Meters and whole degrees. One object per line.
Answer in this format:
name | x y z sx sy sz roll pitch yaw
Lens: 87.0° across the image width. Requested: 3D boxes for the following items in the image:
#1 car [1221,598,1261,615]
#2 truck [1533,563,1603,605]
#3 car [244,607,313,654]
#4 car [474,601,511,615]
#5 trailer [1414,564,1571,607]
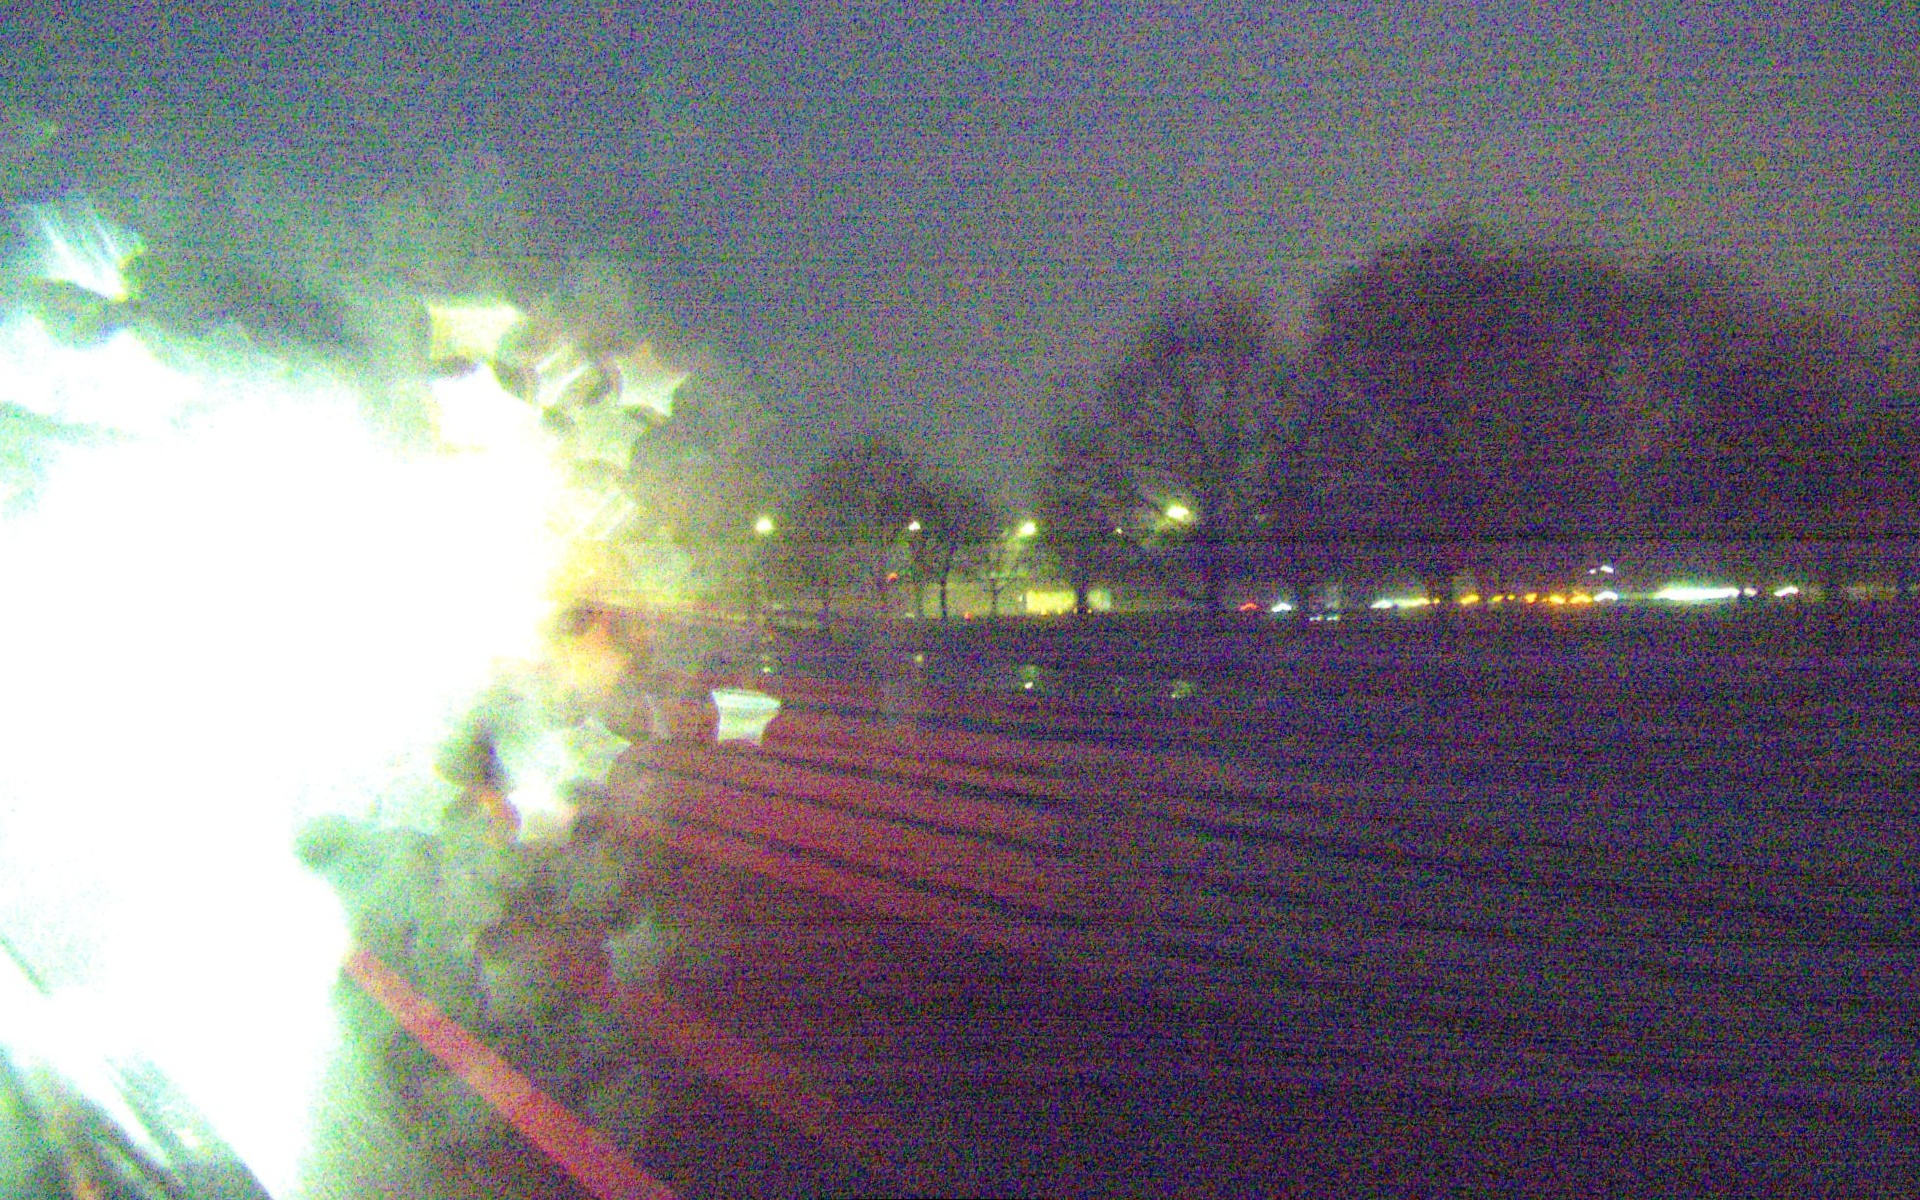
car | 31.572 0.726 113.529 3.980 1.630 1.982 -2 1 28
truck | 58.512 -1.520 97.371 5.449 3.739 2.564 -1 2 37
car | -28.786 1.251 42.878 1.966 1.760 4.113 -3 1 -29
car | -61.423 1.035 133.046 3.941 1.452 1.720 -4 0 -43
trailer | 53.152 -1.351 101.545 13.631 3.752 2.568 -2 2 38
